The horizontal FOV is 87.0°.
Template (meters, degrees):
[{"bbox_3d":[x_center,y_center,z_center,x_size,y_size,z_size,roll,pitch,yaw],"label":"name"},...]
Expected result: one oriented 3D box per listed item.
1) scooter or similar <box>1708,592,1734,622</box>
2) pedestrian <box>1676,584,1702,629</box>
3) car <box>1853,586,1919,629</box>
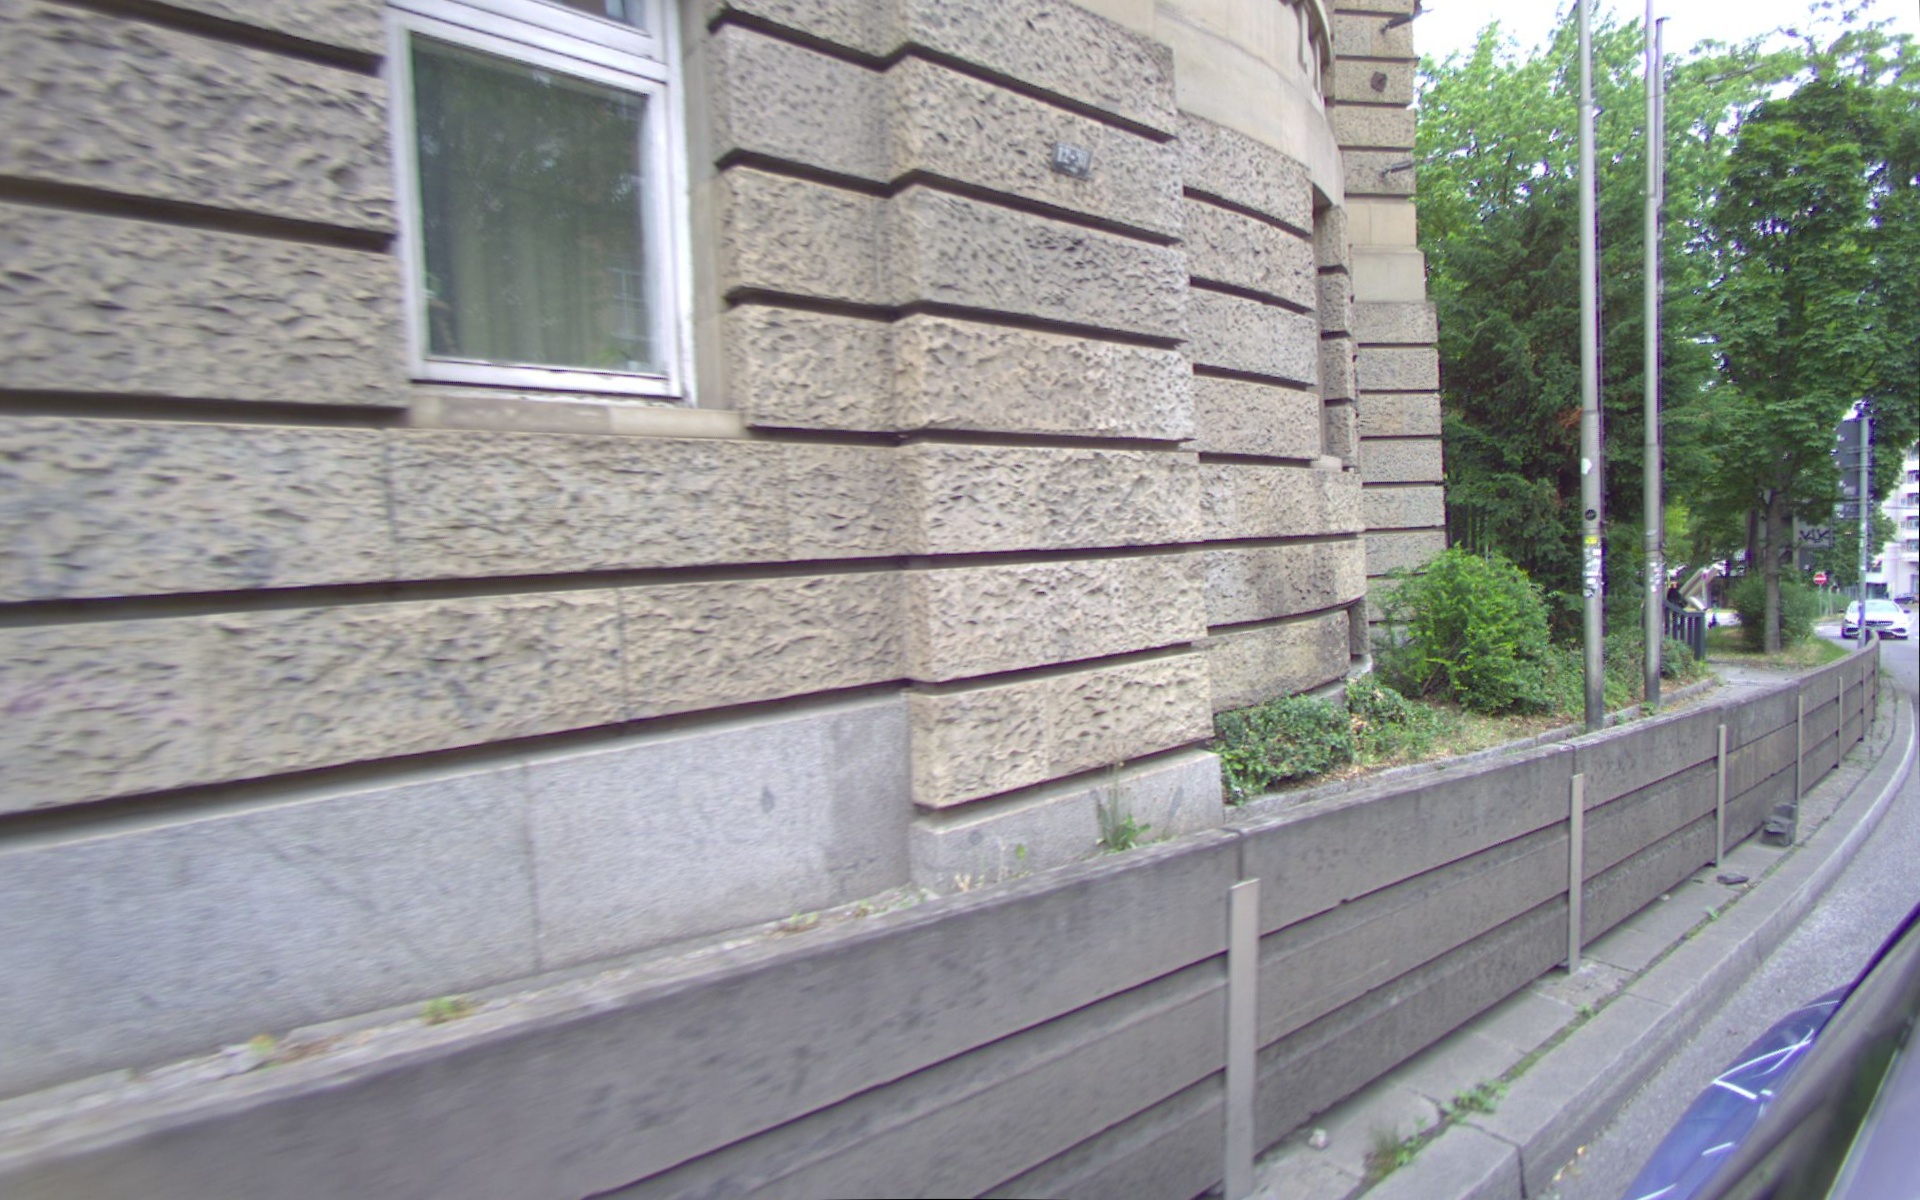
[{"bbox_3d":[31.588,0.281,42.014,0.626,1.225,1.542,1,1,29],"label":"scooter or similar"},{"bbox_3d":[28.397,0.260,39.405,0.770,1.724,0.774,1,0,39],"label":"pedestrian"},{"bbox_3d":[34.052,0.257,37.021,3.790,1.467,1.819,0,1,-45],"label":"car"}]
